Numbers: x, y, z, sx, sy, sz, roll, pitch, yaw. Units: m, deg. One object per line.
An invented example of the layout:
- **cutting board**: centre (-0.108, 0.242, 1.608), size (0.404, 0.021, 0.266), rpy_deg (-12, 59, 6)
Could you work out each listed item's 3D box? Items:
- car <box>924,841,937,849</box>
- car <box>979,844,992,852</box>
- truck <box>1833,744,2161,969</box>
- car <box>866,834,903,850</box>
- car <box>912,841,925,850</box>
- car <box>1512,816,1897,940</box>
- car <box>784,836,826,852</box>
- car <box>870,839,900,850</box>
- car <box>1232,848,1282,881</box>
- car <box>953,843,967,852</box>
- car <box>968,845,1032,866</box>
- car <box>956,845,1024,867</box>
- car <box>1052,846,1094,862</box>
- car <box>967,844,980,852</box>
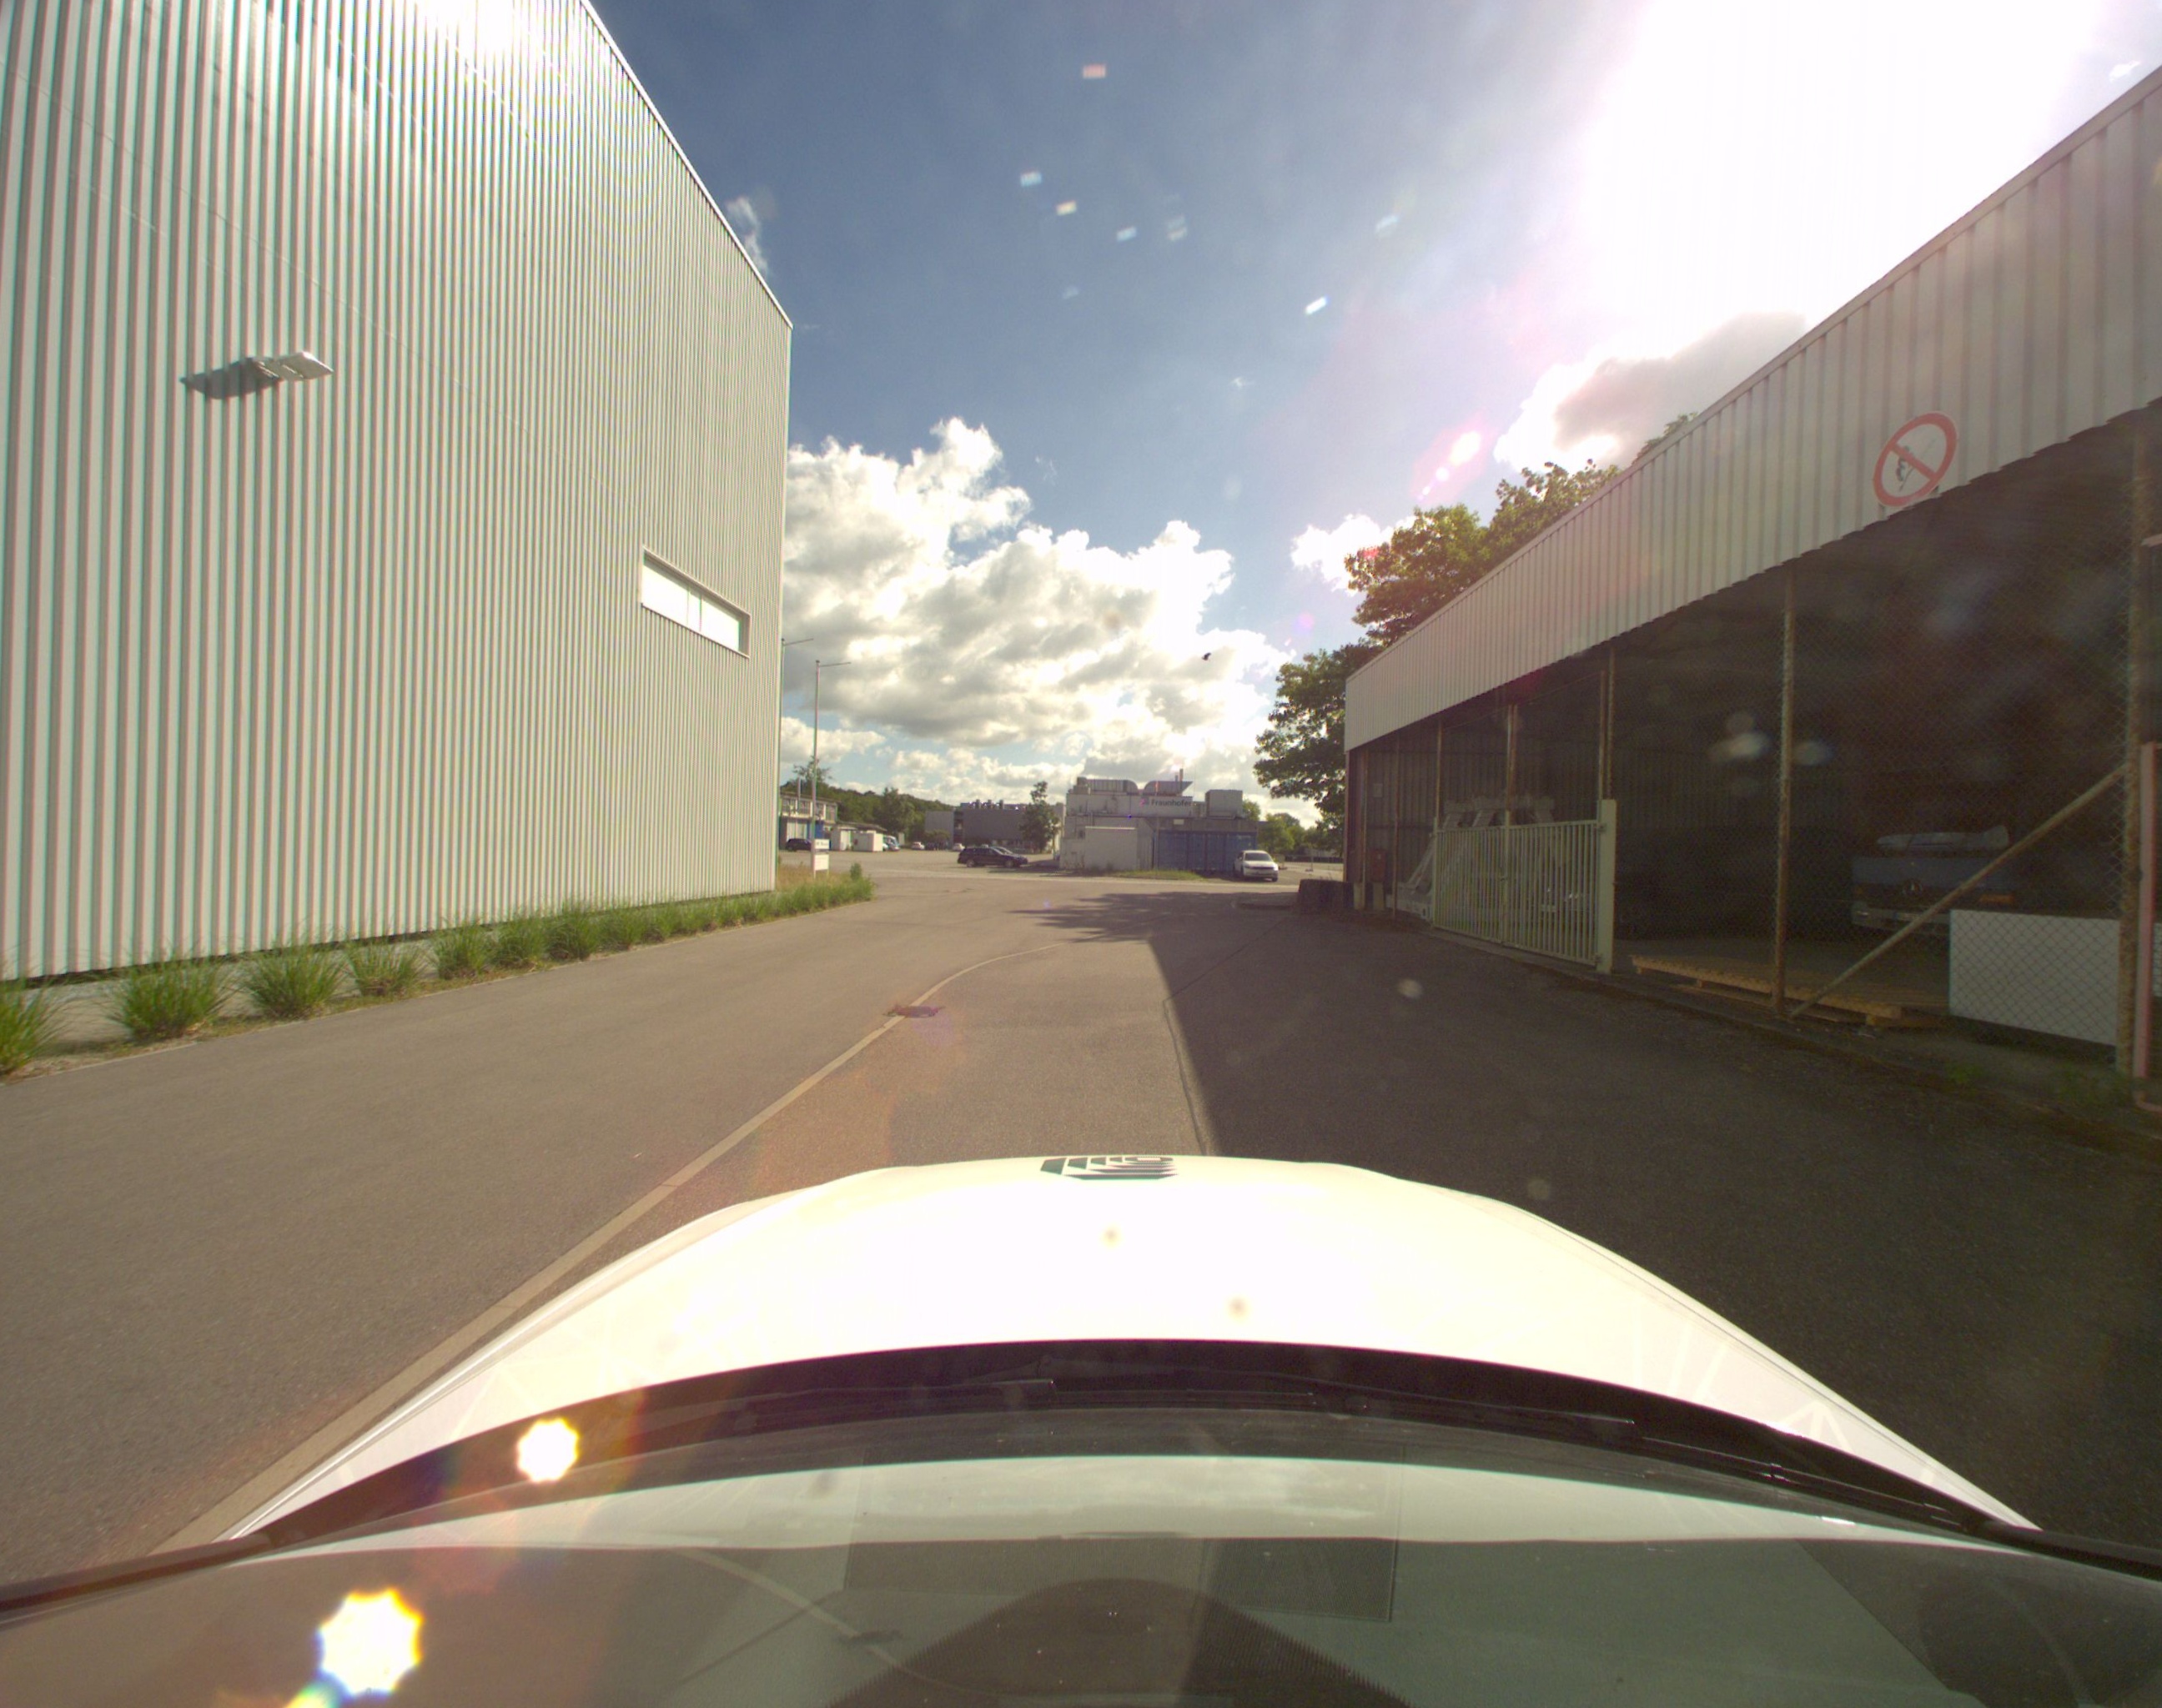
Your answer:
- **car**: centre (-28.662, -1.656, 155.557), size (1.873, 1.537, 4.032), rpy_deg (0, 0, -2)
- **car**: centre (-18.225, -1.192, 155.527), size (1.871, 1.537, 4.035), rpy_deg (0, 0, 0)
- **truck**: centre (14.022, 0.031, 10.971), size (5.544, 2.706, 2.368), rpy_deg (0, 0, 2)
- **car**: centre (-31.909, -1.960, 132.238), size (5.231, 2.442, 2.053), rpy_deg (2, 0, 6)
- **car**: centre (-31.099, -1.702, 155.757), size (1.842, 1.668, 4.130), rpy_deg (0, 0, -2)
- **car**: centre (10.724, 0.399, 14.312), size (5.153, 1.918, 2.276), rpy_deg (1, 0, -3)
- **car**: centre (-32.478, -1.187, 95.834), size (4.148, 1.665, 1.784), rpy_deg (3, 0, 0)
- **car**: centre (-31.081, -1.473, 129.267), size (4.088, 1.630, 1.811), rpy_deg (2, 0, 6)
- **car**: centre (9.611, 0.509, 44.852), size (1.973, 1.593, 4.344), rpy_deg (2, 2, 2)
- **car**: centre (-23.103, -1.228, 155.619), size (1.871, 1.689, 4.035), rpy_deg (0, 0, 0)
- **car**: centre (-6.021, 0.116, 61.246), size (4.511, 1.443, 1.905), rpy_deg (1, -1, 2)
- **car**: centre (-6.411, 0.135, 57.997), size (4.511, 1.443, 1.988), rpy_deg (1, -1, 2)
- **car**: centre (-0.816, -0.012, 85.590), size (4.262, 1.569, 1.988), rpy_deg (1, -1, 2)
- **car**: centre (-20.554, -1.173, 155.383), size (1.871, 1.537, 4.035), rpy_deg (0, 0, 0)
